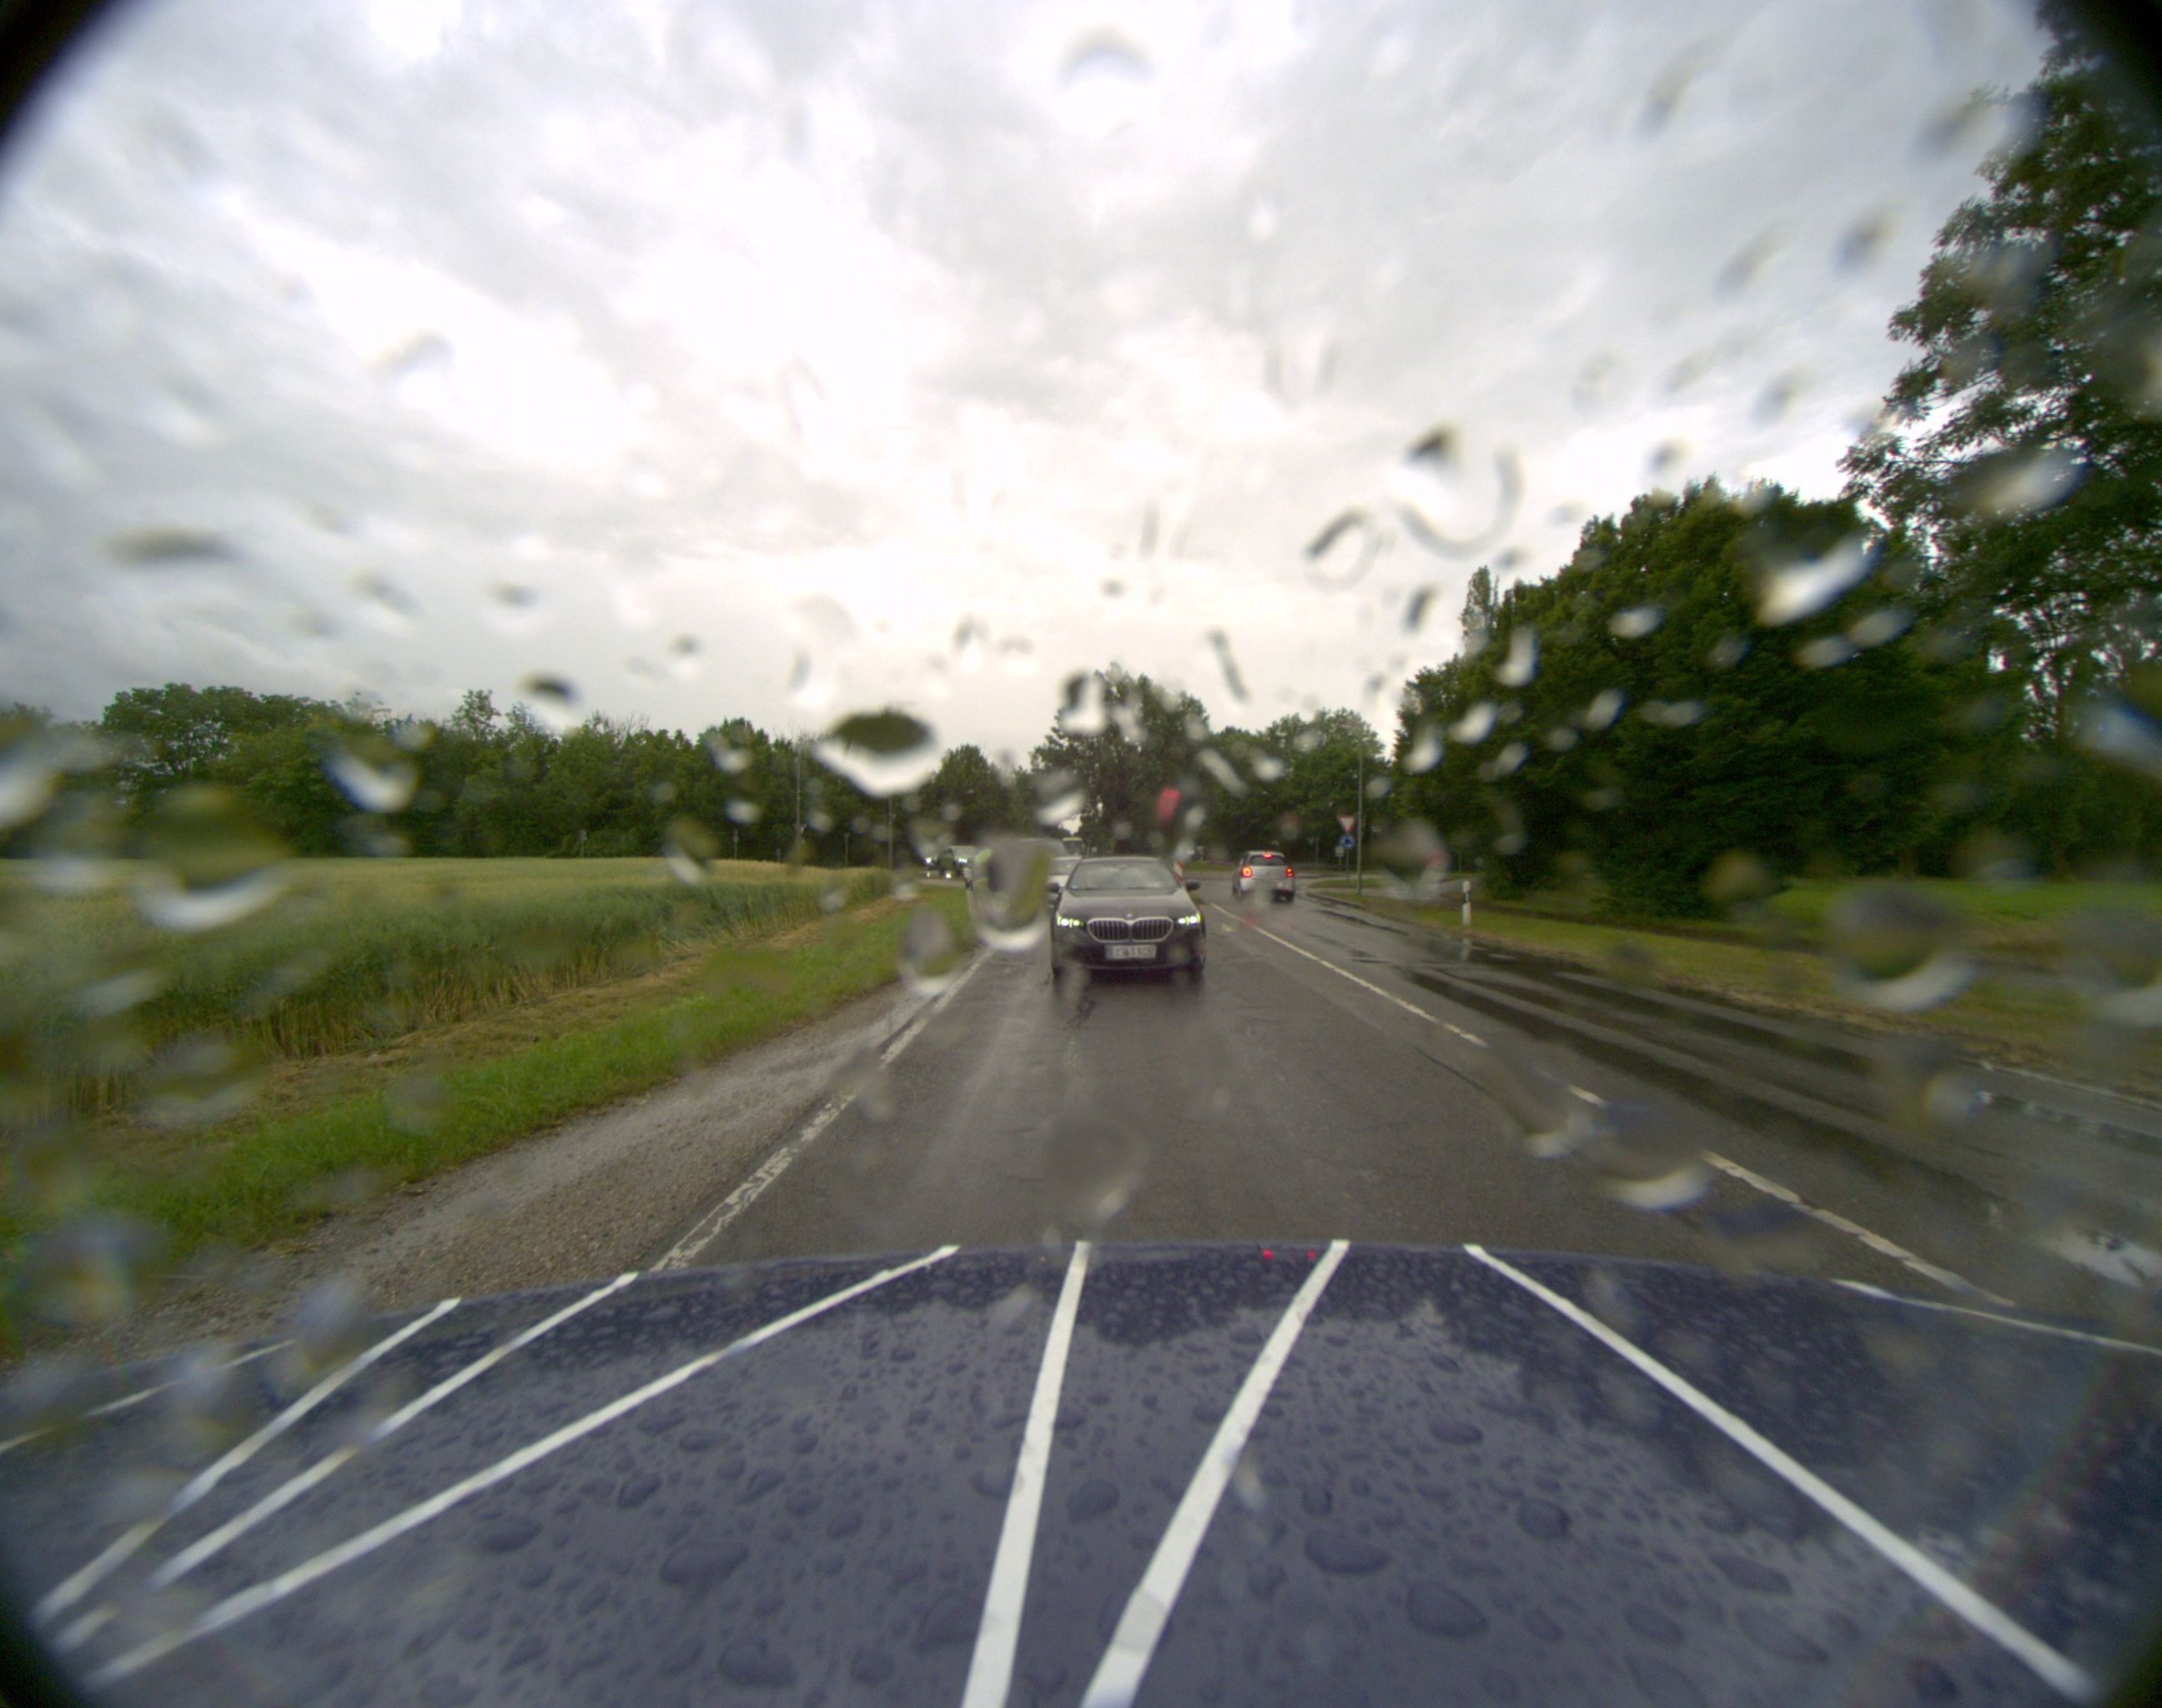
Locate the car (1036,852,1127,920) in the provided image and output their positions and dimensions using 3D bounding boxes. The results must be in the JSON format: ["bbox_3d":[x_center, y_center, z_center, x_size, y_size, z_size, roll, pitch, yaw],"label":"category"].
[{"bbox_3d":[-0.099,0.738,19.864,1.893,1.482,4.188,-1,1,-6],"label":"car"}]

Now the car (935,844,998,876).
[{"bbox_3d":[-6.034,0.268,39.550,1.895,1.522,5.245,-1,1,-24],"label":"car"}]

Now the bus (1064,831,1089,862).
[{"bbox_3d":[-0.470,-0.965,98.911,2.996,3.665,14.293,1,0,1],"label":"bus"}]

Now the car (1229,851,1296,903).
[{"bbox_3d":[5.733,0.676,24.390,1.679,1.490,3.737,2,0,8],"label":"car"}]

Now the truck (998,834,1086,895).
[{"bbox_3d":[-1.647,0.275,29.550,2.078,2.050,5.759,-3,2,-16],"label":"truck"}]

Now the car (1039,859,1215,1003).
[{"bbox_3d":[0.527,0.853,10.324,1.891,1.484,4.035,-1,0,1],"label":"car"}]

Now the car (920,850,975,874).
[{"bbox_3d":[-8.965,0.490,51.400,1.889,1.522,4.507,-1,0,15],"label":"car"}]
